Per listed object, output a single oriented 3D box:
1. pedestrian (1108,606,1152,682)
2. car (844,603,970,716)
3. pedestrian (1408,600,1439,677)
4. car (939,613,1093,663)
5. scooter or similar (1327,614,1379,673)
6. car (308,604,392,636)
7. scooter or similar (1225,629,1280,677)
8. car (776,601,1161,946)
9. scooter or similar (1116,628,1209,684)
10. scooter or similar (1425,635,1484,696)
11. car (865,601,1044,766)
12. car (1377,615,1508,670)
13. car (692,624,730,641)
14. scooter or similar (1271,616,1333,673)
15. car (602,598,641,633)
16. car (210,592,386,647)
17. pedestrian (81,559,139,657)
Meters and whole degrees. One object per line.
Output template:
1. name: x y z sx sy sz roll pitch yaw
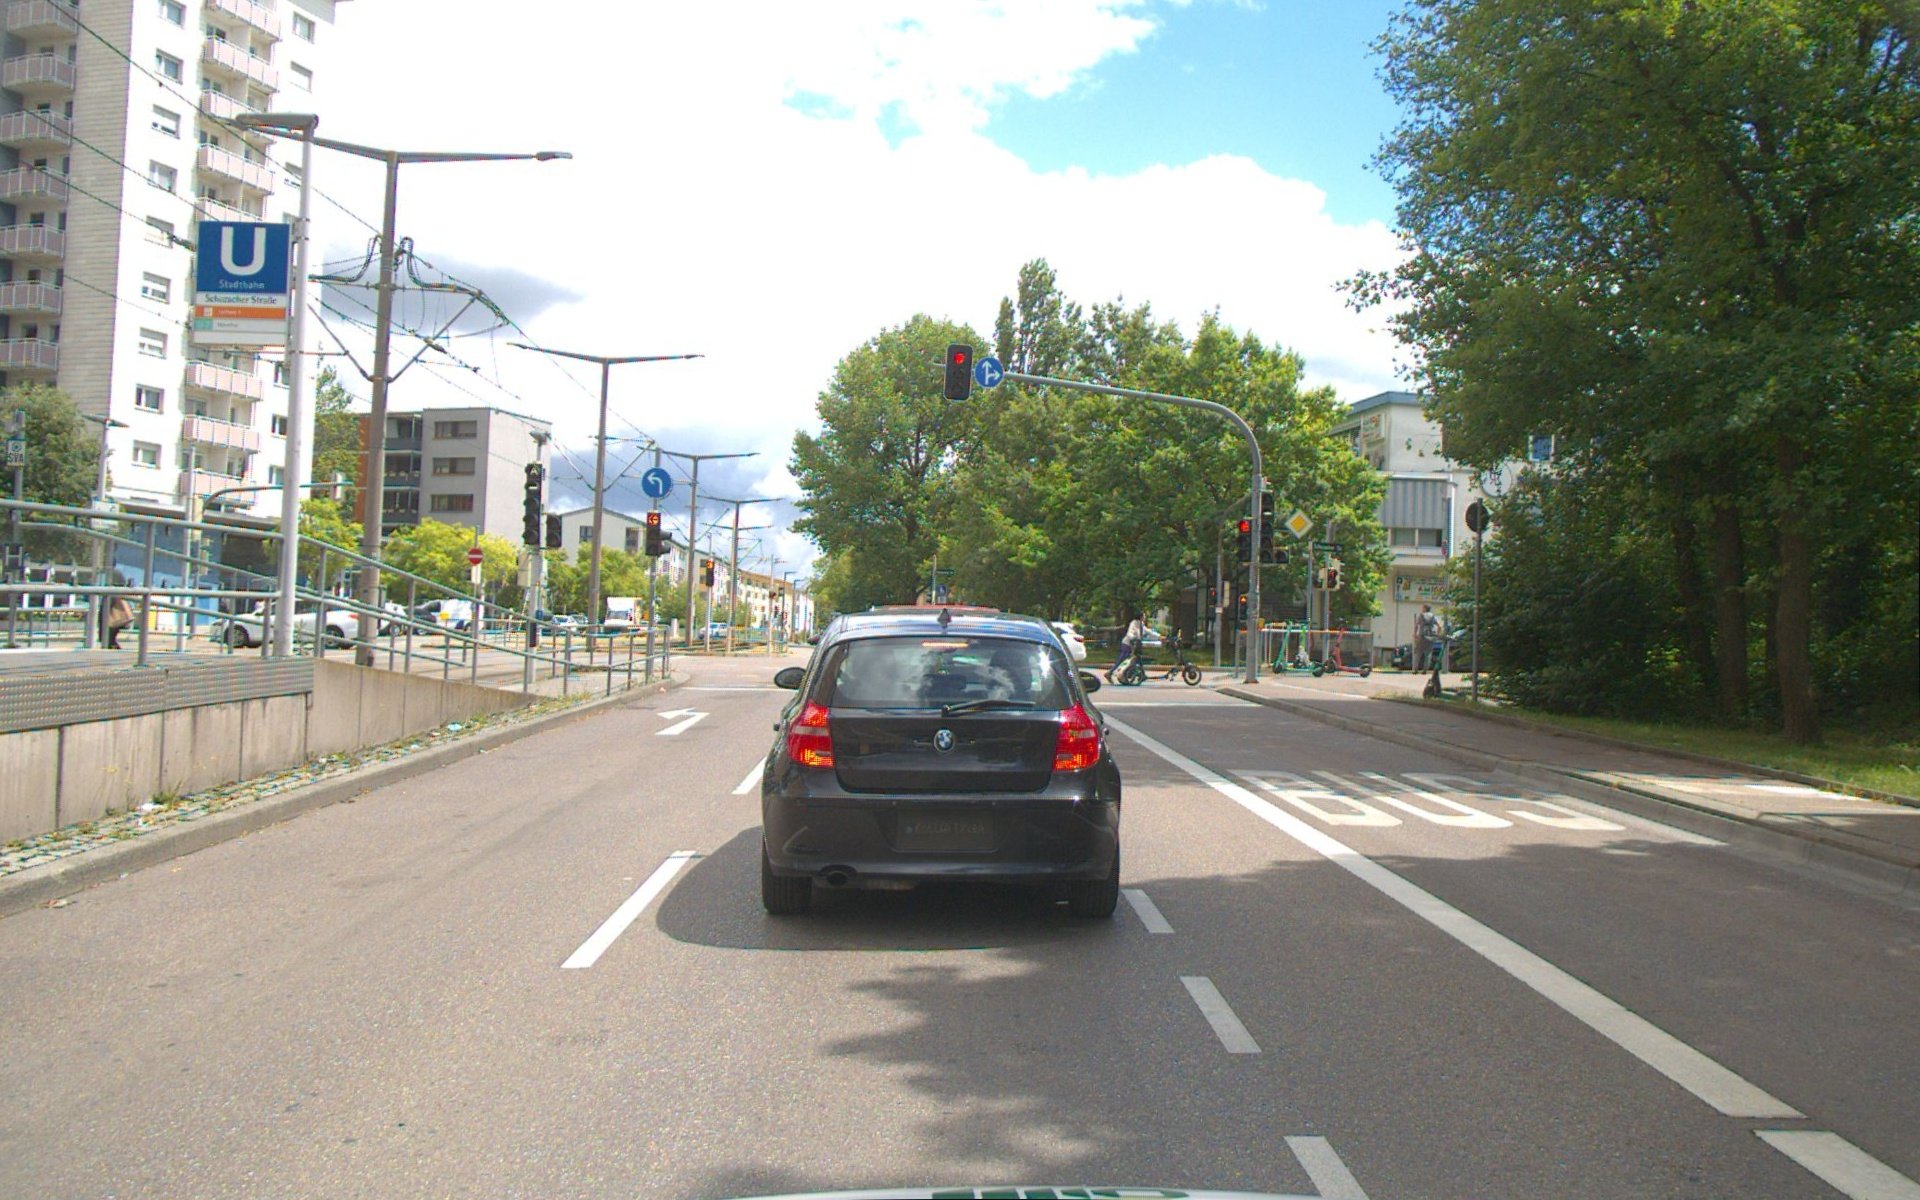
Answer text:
1. pedestrian: 3.353 0.855 32.695 0.846 1.468 0.799 1 0 5
2. car: -0.758 0.776 23.268 1.621 1.443 3.515 1 0 -2
3. pedestrian: 11.384 0.939 40.590 0.600 1.821 0.569 4 -1 18
4. car: 1.746 1.195 52.409 4.554 1.506 1.995 1 0 -10
5. scooter or similar: 8.691 0.965 36.607 1.087 1.280 0.331 1 0 -13
6. car: -29.467 0.985 79.981 3.537 1.488 1.613 1 0 -9
7. scooter or similar: 6.096 1.105 34.449 1.102 0.974 0.299 1 0 -17
8. car: 0.064 0.739 8.805 1.620 1.443 3.517 1 0 1
9. scooter or similar: 3.939 1.090 32.246 1.748 1.069 0.409 1 0 -10
10. scooter or similar: 9.386 1.241 31.395 1.133 1.118 0.329 1 0 -25
11. car: -0.051 0.740 16.448 1.562 1.443 3.516 1 0 0
12. car: 14.904 1.318 51.112 3.515 1.629 1.706 1 -1 -13
13. car: -24.604 3.165 163.371 1.927 1.624 3.999 1 0 22
14. scooter or similar: 7.393 0.966 35.738 1.267 1.210 0.383 1 0 -17
15. car: -26.922 1.207 131.764 2.096 2.686 5.356 1 0 -2
16. car: -19.448 0.558 48.756 4.491 1.553 1.939 1 0 -12
17. pedestrian: -14.514 0.131 28.255 0.687 1.661 0.637 0 0 -7
